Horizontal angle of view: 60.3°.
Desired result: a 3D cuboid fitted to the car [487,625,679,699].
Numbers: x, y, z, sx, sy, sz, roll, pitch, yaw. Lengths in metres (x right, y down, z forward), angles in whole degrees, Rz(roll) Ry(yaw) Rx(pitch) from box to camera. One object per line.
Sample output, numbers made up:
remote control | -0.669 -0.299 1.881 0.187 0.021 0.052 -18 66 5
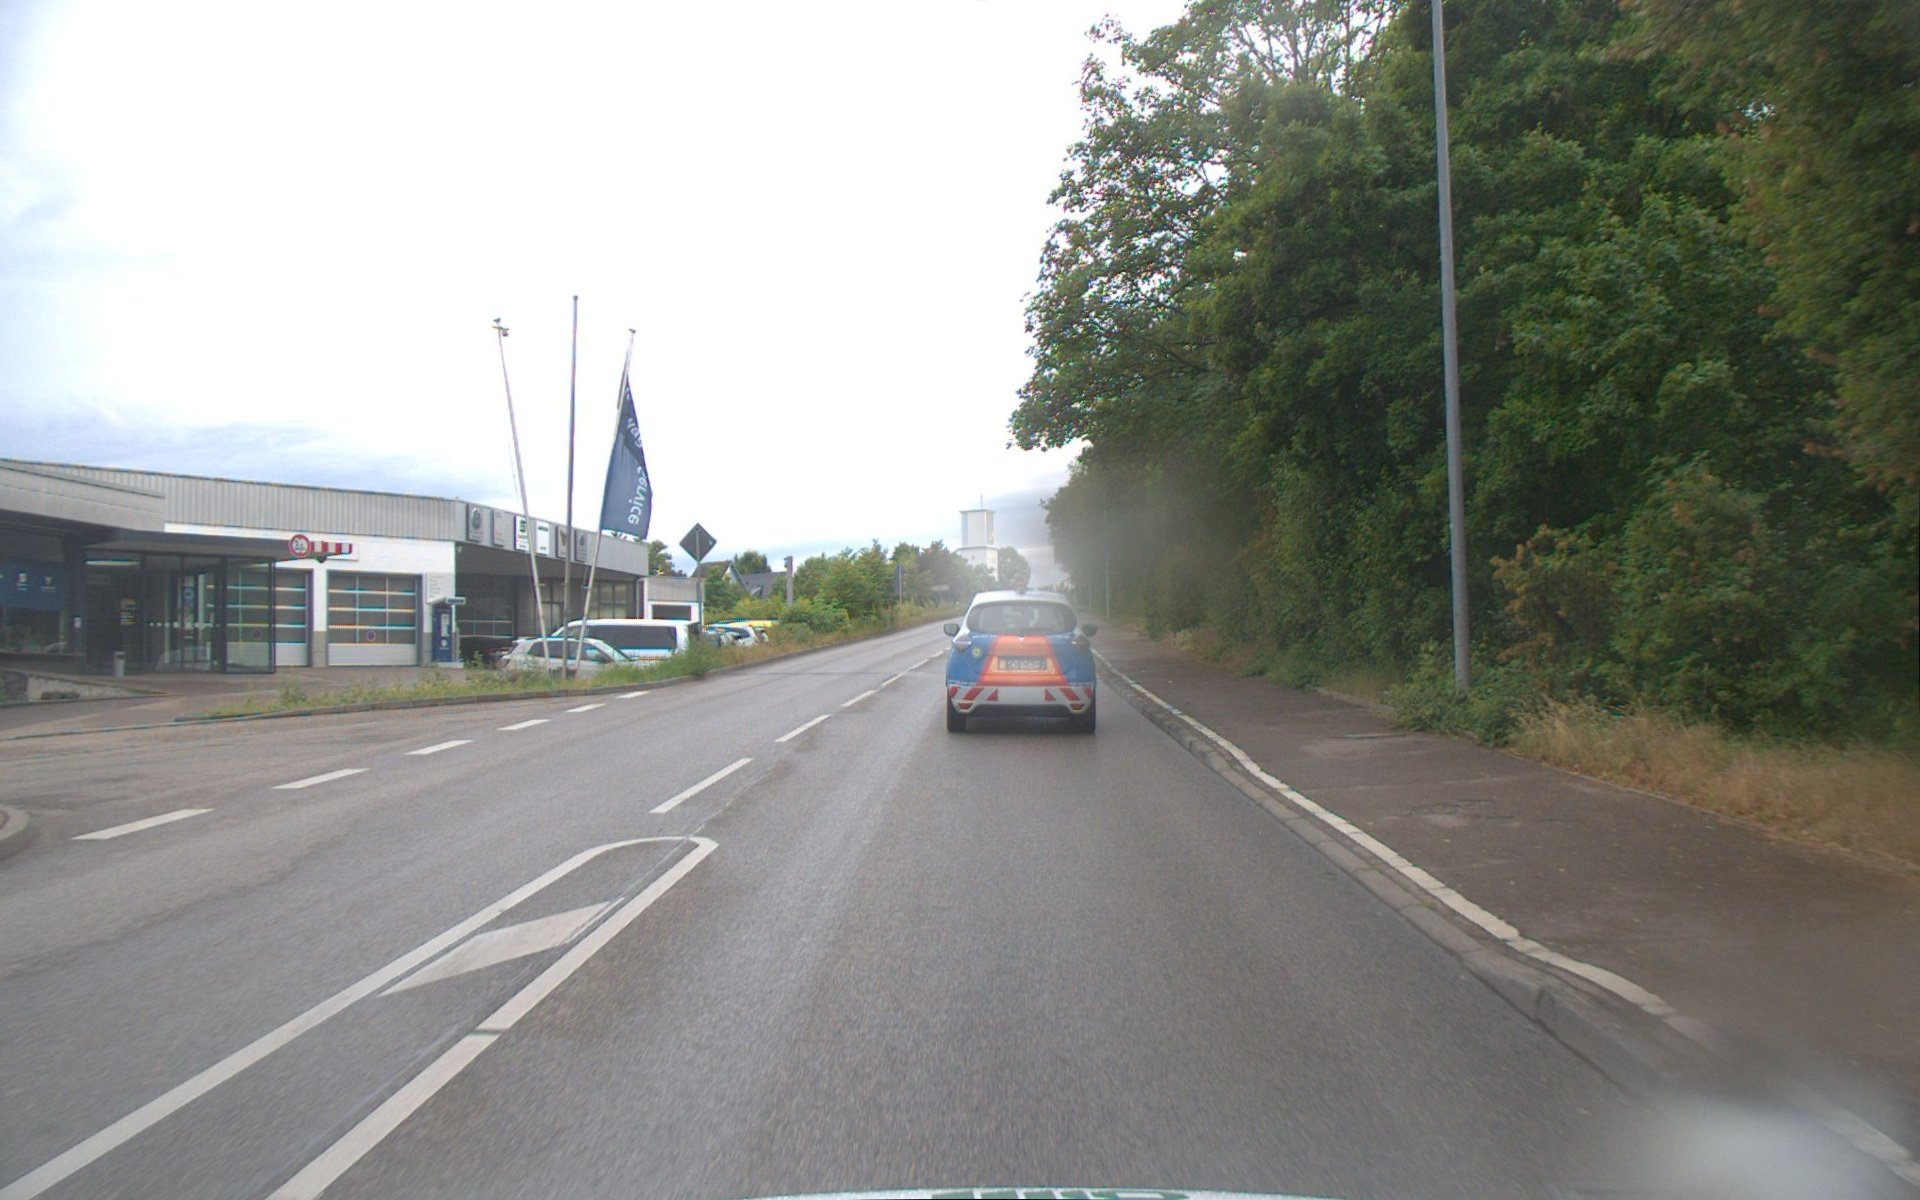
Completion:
car | -8.642 1.408 38.141 3.926 1.504 1.824 -2 0 1

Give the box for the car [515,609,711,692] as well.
car | -8.493 1.211 40.734 4.321 1.829 1.934 -2 0 1

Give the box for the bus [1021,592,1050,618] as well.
bus | 10.237 0.715 225.957 2.852 3.225 11.460 -2 -1 -2

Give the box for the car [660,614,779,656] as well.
car | -8.606 1.237 59.439 3.980 1.313 1.804 -2 0 -1

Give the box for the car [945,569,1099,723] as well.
car | 0.747 0.529 19.535 1.623 1.621 3.569 -1 -1 3

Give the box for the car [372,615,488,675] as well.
car | -19.872 1.694 61.955 4.398 1.994 1.980 -5 -2 38

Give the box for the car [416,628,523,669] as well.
car | -18.822 1.859 63.409 3.942 1.441 1.946 -2 0 36

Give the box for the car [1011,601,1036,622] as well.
car | 4.480 0.833 117.607 1.581 1.432 3.497 -2 -1 0

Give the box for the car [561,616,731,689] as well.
car | -8.730 1.451 46.288 4.323 1.829 2.002 -2 0 -1

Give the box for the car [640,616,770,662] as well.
car | -8.725 1.323 56.735 4.140 1.392 1.874 -2 0 -1

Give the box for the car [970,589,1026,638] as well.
car | 1.338 0.489 59.174 1.766 1.618 3.561 -2 -1 -2
